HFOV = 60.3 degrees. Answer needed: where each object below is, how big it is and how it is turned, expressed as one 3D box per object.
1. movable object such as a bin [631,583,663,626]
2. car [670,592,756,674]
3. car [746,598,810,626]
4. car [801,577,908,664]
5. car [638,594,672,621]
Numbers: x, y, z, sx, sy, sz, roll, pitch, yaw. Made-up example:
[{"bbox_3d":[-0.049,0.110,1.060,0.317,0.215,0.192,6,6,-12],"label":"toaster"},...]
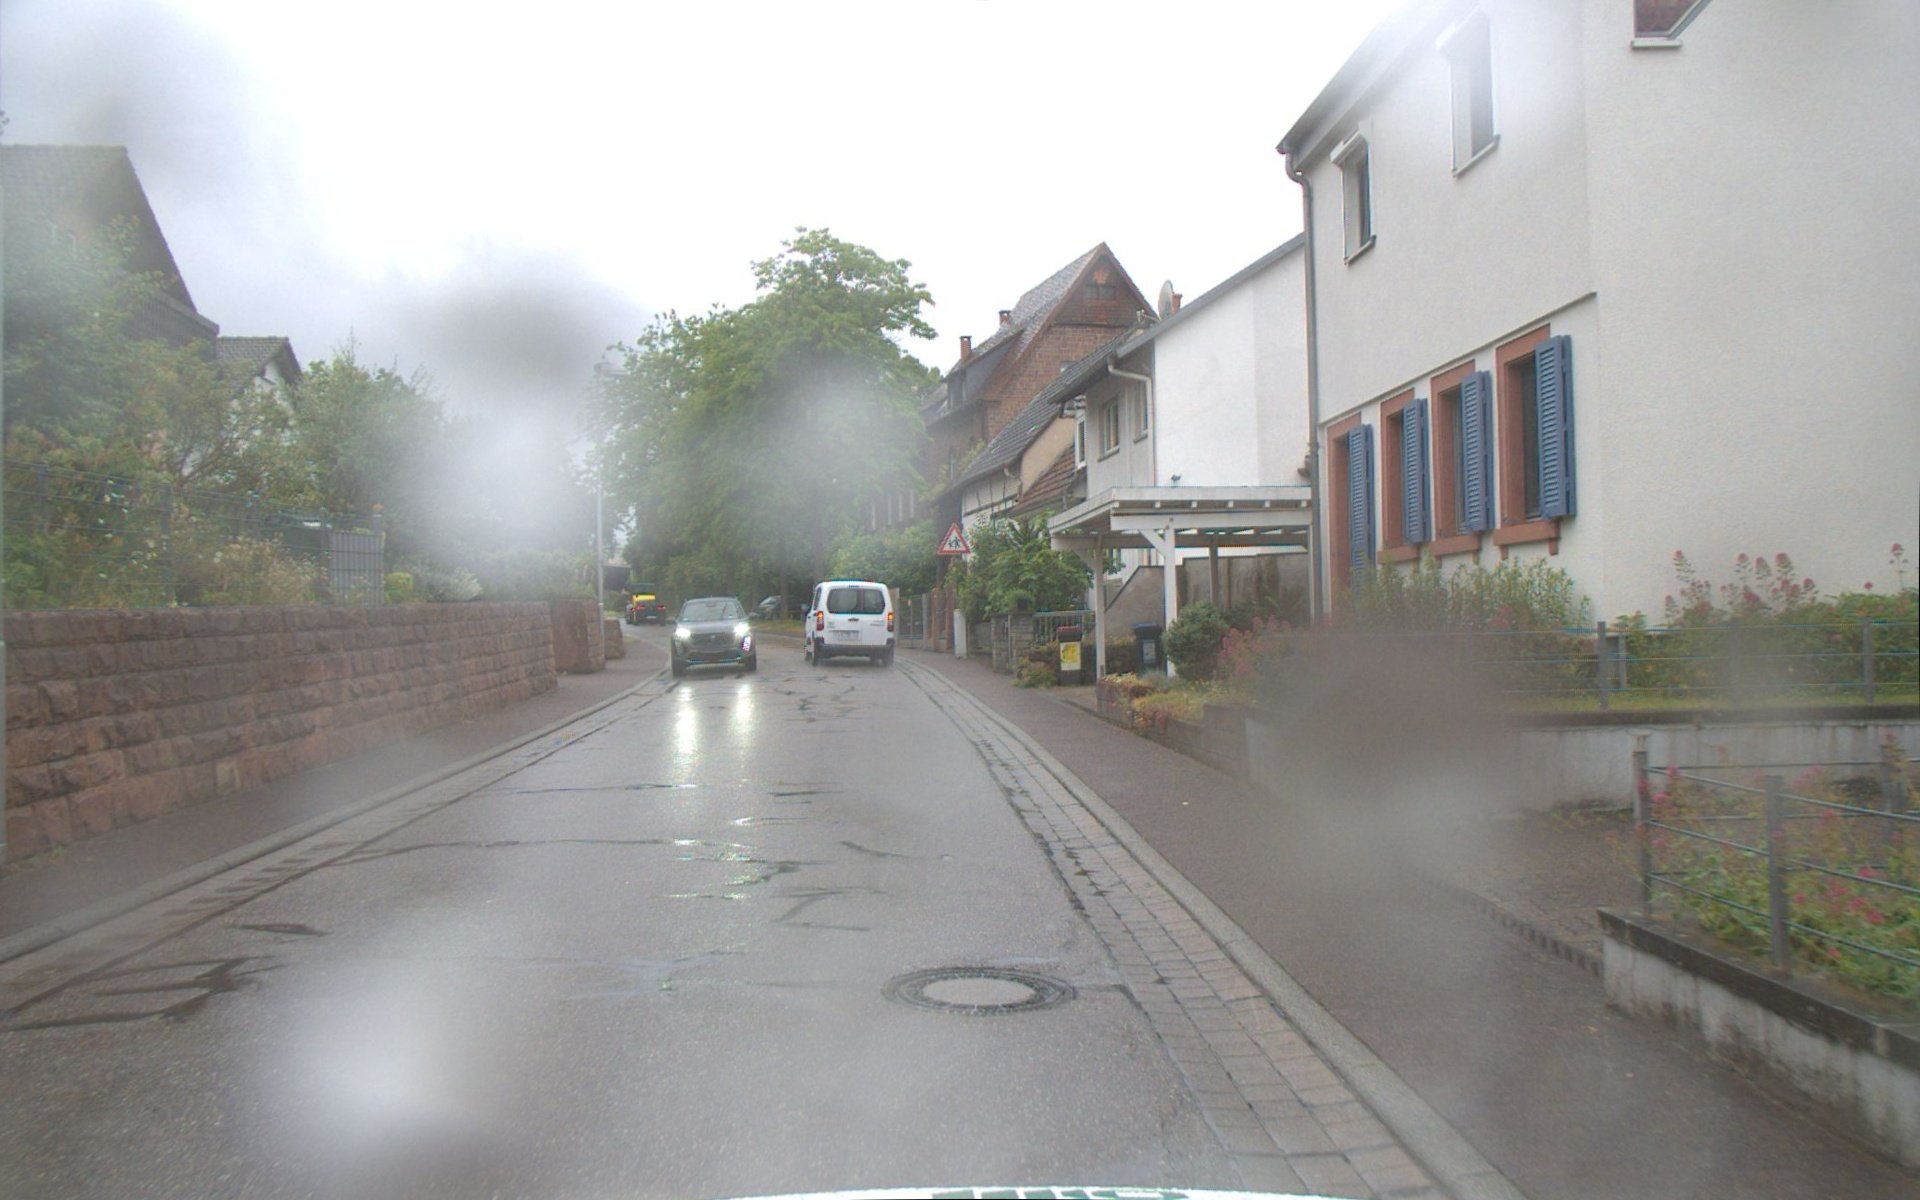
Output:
[{"bbox_3d":[-19.572,0.286,103.339,1.731,2.592,4.224,2,-1,-13],"label":"movable object such as a bin"},{"bbox_3d":[-5.231,0.656,35.246,1.668,1.574,3.844,-2,0,-8],"label":"car"},{"bbox_3d":[-10.449,0.712,95.116,1.590,1.578,3.597,-1,-1,38],"label":"car"},{"bbox_3d":[-2.416,0.419,37.009,1.863,1.838,3.988,0,0,-12],"label":"car"},{"bbox_3d":[-17.098,0.436,92.564,1.679,1.402,3.986,2,-1,-13],"label":"car"}]
